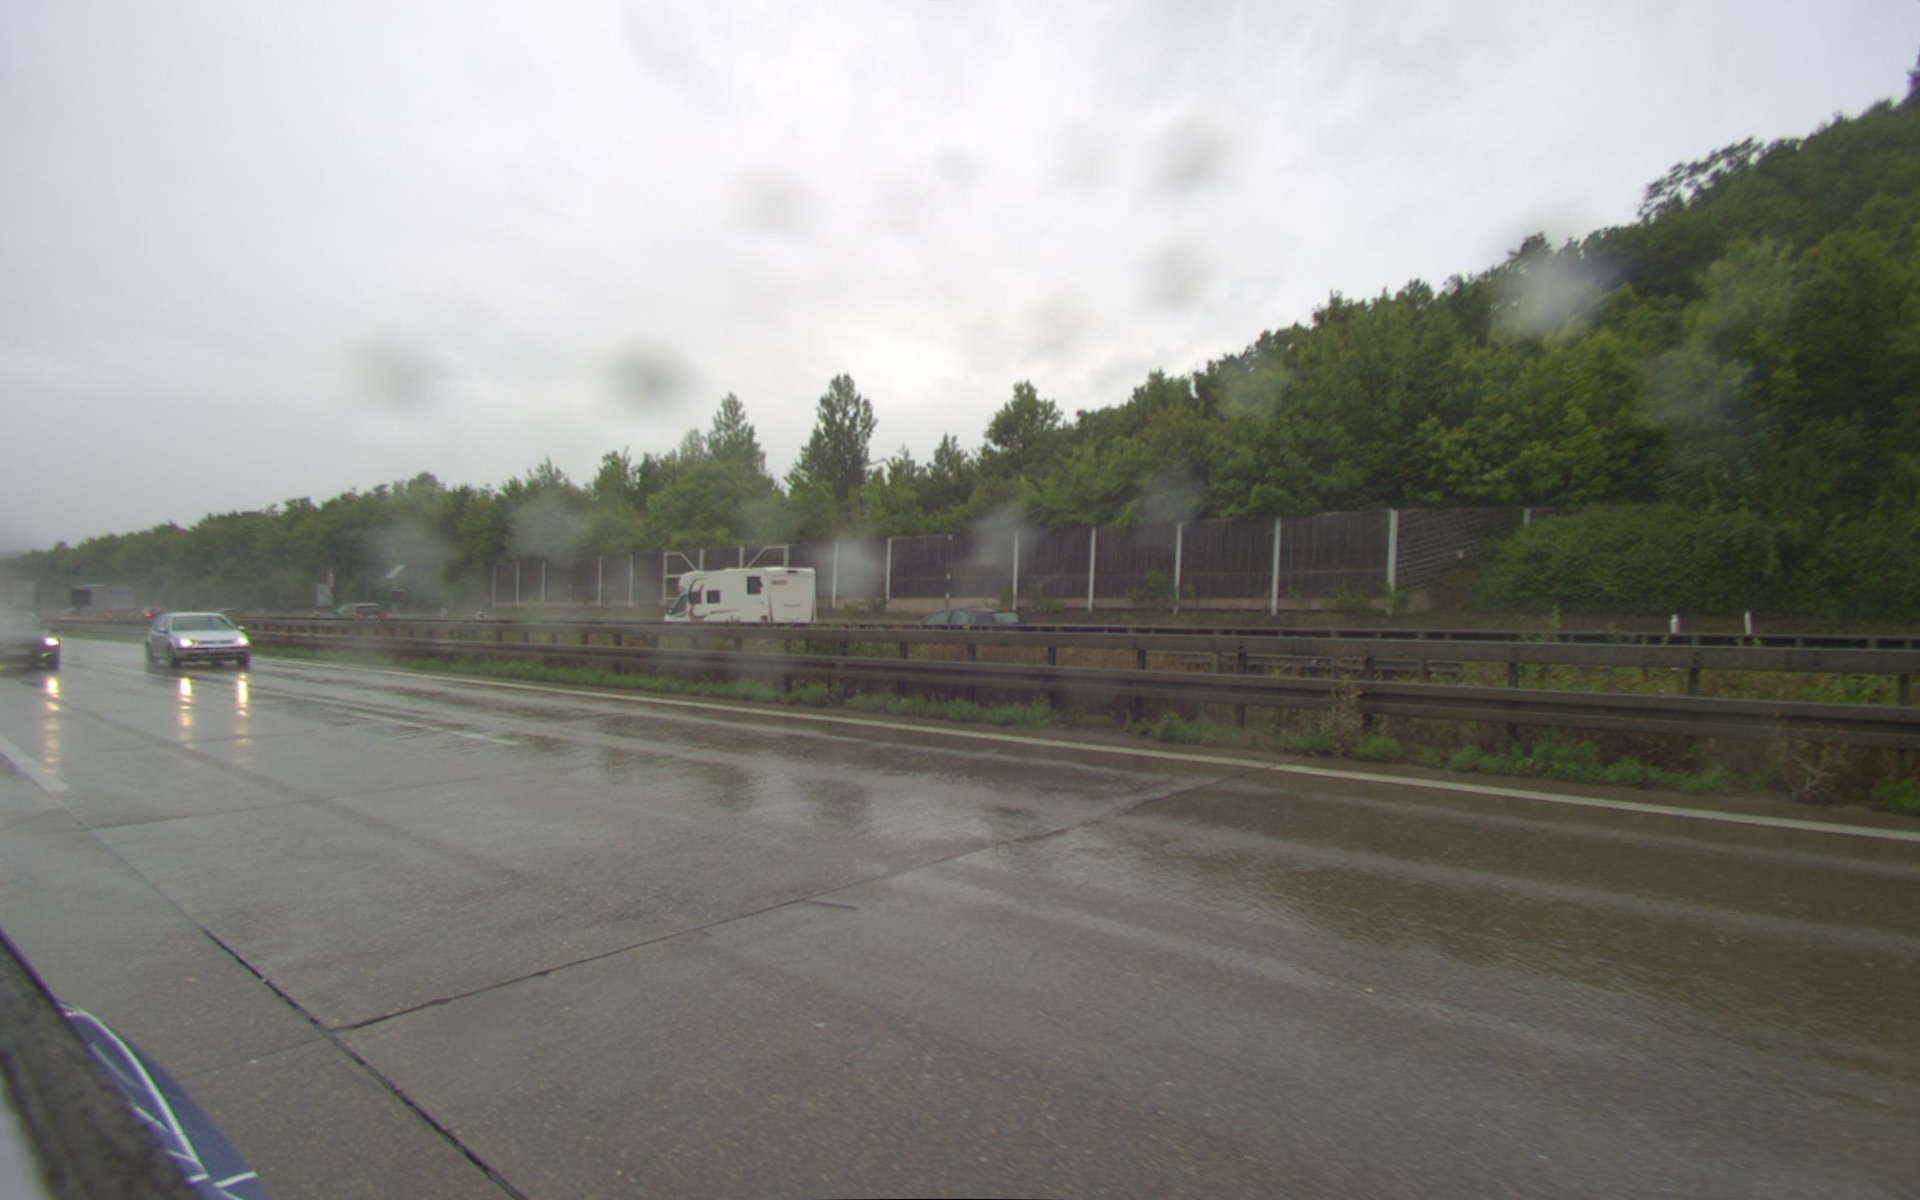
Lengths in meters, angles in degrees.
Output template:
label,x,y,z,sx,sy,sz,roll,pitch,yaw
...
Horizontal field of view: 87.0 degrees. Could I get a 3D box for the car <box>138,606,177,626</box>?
label,x,y,z,sx,sy,sz,roll,pitch,yaw
car,-69.263,1.358,87.300,3.998,1.696,1.973,-1,-1,41

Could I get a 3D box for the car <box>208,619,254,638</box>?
label,x,y,z,sx,sy,sz,roll,pitch,yaw
car,-53.366,2.068,74.071,4.341,1.313,1.735,-1,1,41

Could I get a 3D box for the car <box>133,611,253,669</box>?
label,x,y,z,sx,sy,sz,roll,pitch,yaw
car,-20.914,1.050,27.530,4.346,1.445,1.650,-1,-1,40

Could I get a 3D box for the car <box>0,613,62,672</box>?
label,x,y,z,sx,sy,sz,roll,pitch,yaw
car,-25.081,1.067,26.415,4.516,1.445,1.908,-1,-2,42

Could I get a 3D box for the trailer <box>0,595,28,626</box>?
label,x,y,z,sx,sy,sz,roll,pitch,yaw
trailer,-136.192,1.525,144.988,8.519,4.185,2.819,-1,1,41

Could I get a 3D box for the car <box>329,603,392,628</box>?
label,x,y,z,sx,sy,sz,roll,pitch,yaw
car,-33.810,0.889,57.034,4.341,1.313,1.735,-1,1,41

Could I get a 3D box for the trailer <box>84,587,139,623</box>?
label,x,y,z,sx,sy,sz,roll,pitch,yaw
trailer,-96.650,0.603,115.165,13.773,3.830,2.738,-1,1,42

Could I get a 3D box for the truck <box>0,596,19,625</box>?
label,x,y,z,sx,sy,sz,roll,pitch,yaw
truck,-143.251,1.635,151.127,10.172,4.185,2.819,-1,1,41

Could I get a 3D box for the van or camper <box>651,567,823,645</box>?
label,x,y,z,sx,sy,sz,roll,pitch,yaw
van or camper,-8.674,0.260,38.733,7.496,2.738,2.529,-1,-1,42

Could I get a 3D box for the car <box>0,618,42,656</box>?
label,x,y,z,sx,sy,sz,roll,pitch,yaw
car,-37.935,1.439,39.996,4.515,1.445,1.909,-1,-2,41

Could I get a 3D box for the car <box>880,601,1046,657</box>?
label,x,y,z,sx,sy,sz,roll,pitch,yaw
car,0.010,0.756,27.120,4.341,1.313,1.735,-1,1,41
